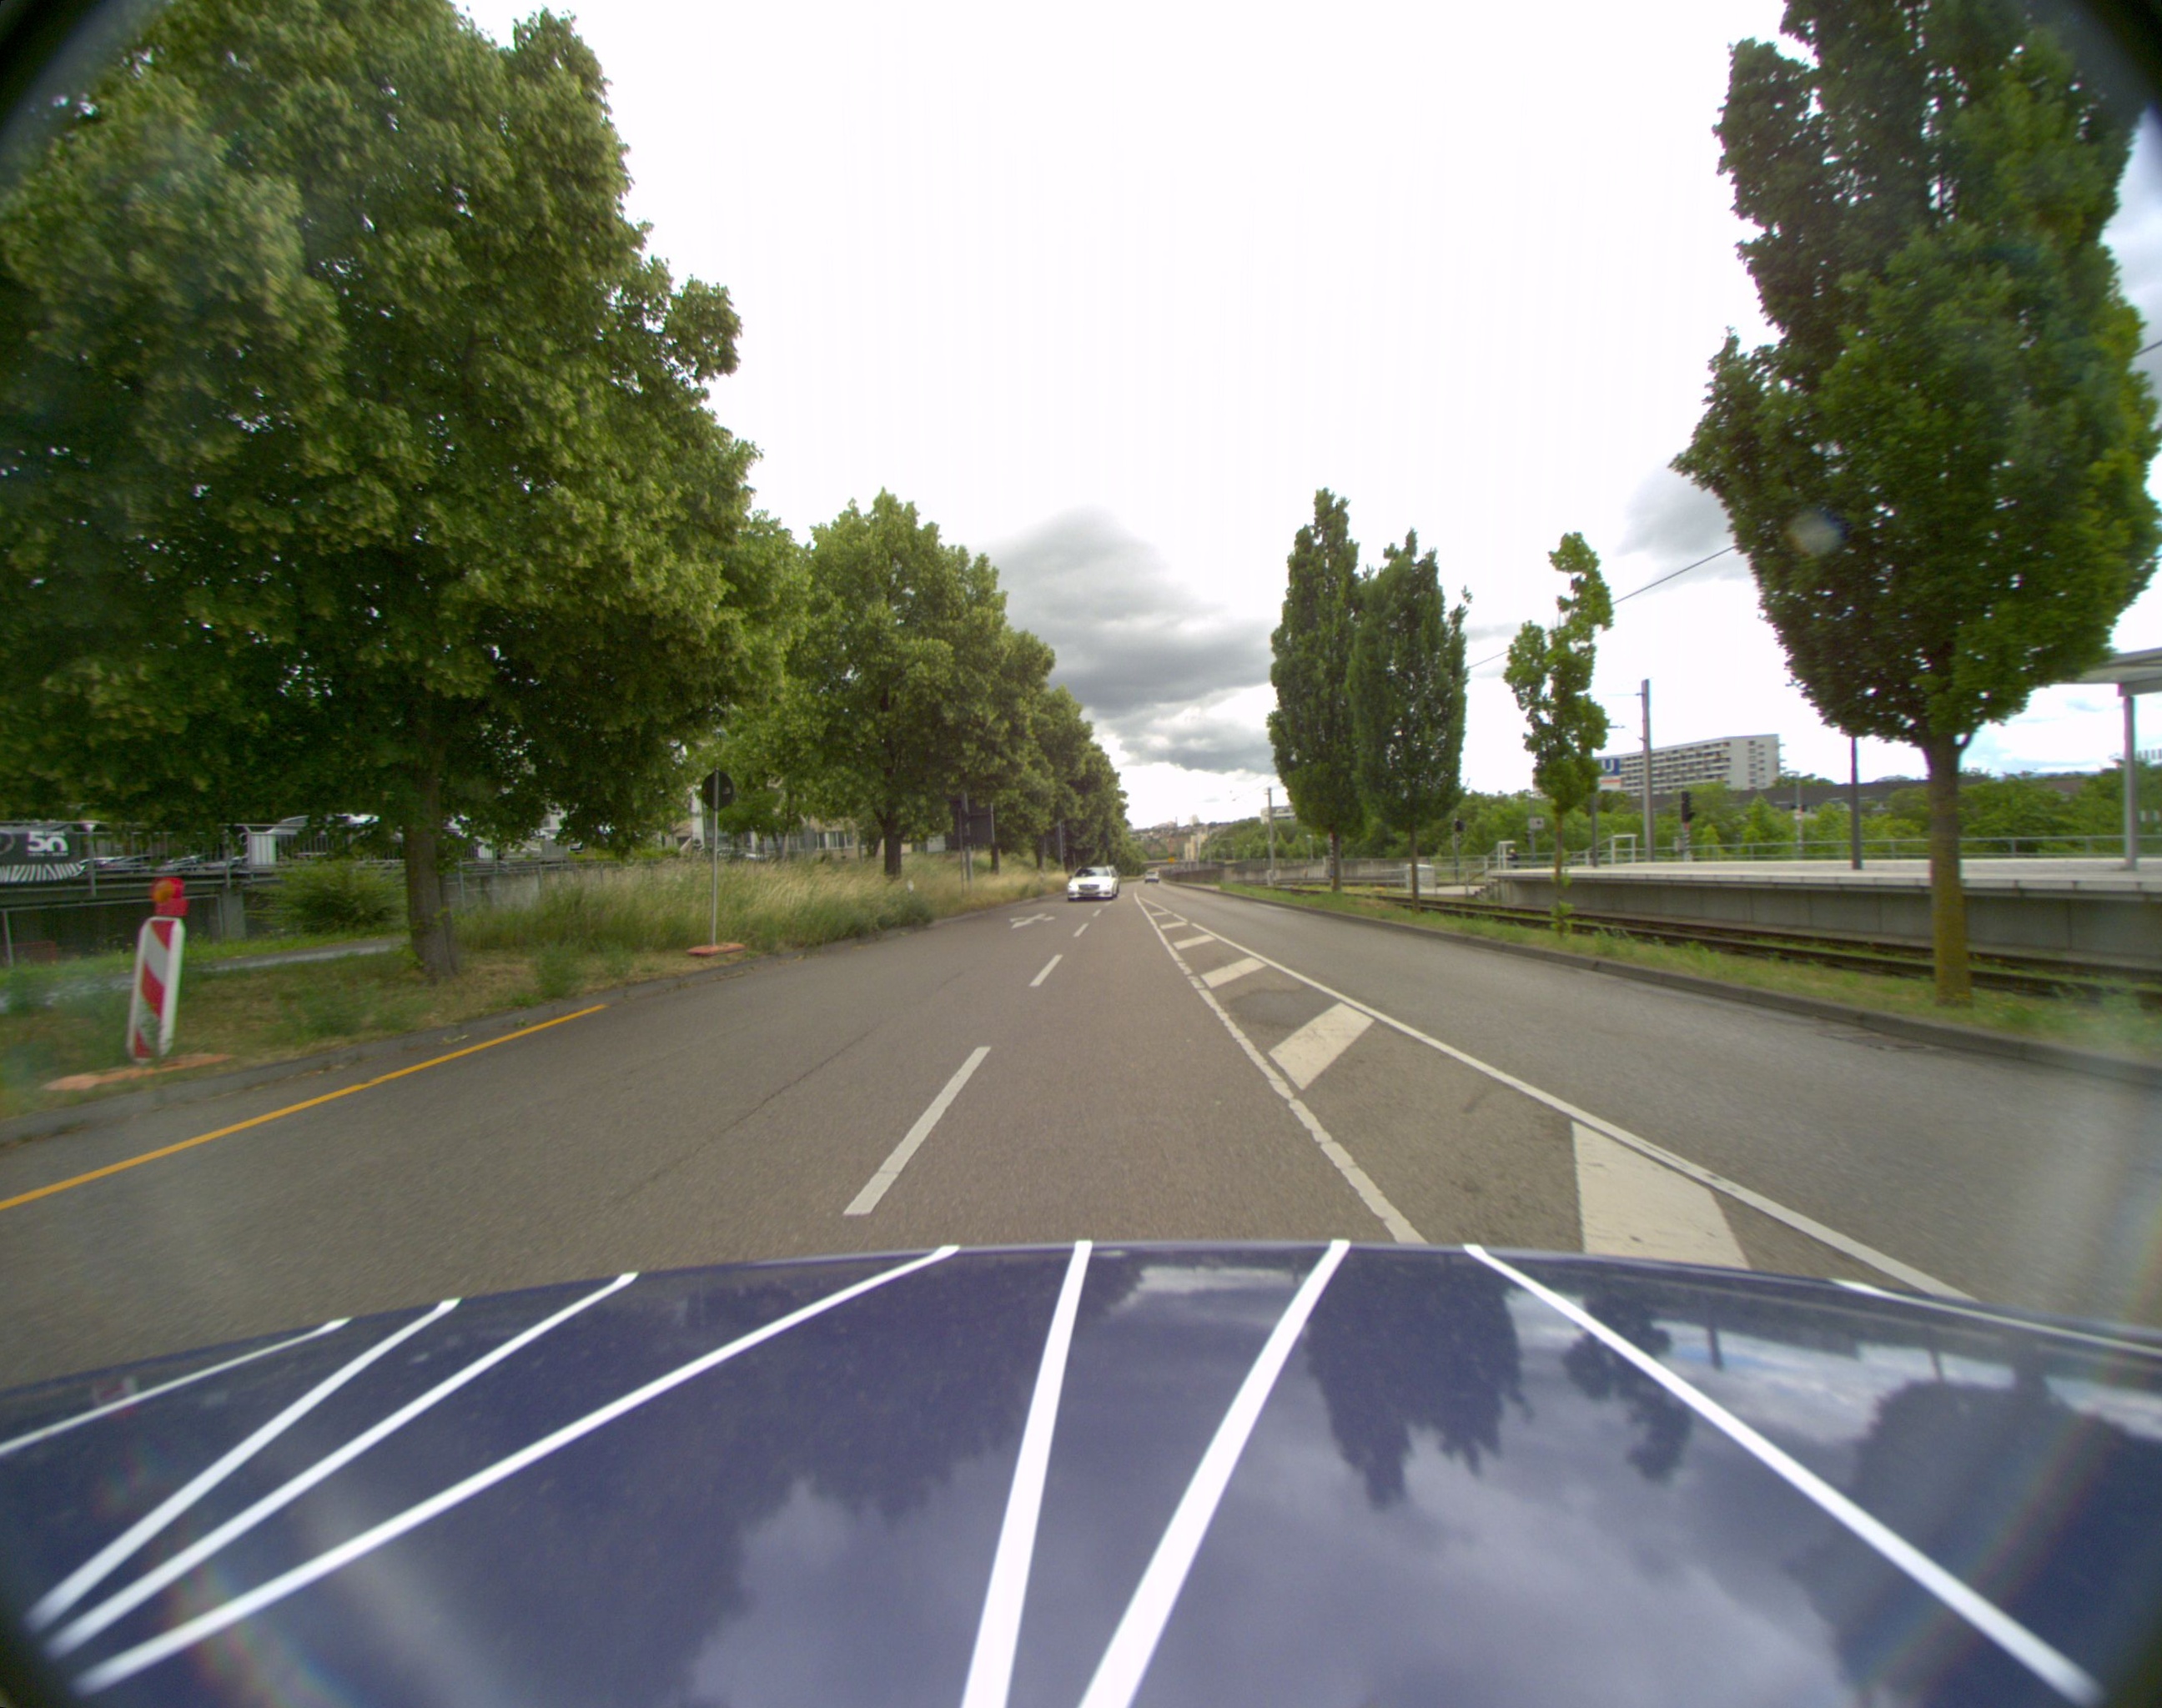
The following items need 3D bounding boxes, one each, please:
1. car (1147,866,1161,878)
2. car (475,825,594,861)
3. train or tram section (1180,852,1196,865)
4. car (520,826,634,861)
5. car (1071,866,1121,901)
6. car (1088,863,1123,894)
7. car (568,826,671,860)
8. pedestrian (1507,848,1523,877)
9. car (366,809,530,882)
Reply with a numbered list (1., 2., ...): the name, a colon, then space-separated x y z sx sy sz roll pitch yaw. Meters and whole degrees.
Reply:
1. car: 9.449 2.376 99.119 1.719 1.512 3.746 -1 -1 4
2. car: -22.402 -0.450 31.208 3.762 1.356 1.756 -1 0 8
3. train or tram section: 28.093 1.145 200.194 2.787 3.174 18.483 -2 -1 5
4. car: -22.007 -0.444 33.223 3.933 1.360 1.756 -1 0 8
5. car: 0.707 1.216 32.580 1.738 1.365 4.002 -2 -1 6
6. car: 1.405 1.329 42.407 1.805 1.439 4.000 -2 1 3
7. car: -22.187 -0.518 36.600 3.933 1.474 1.756 -1 0 8
8. pedestrian: 24.792 0.481 43.392 0.508 1.615 0.646 -2 0 4
9. car: -19.192 -0.221 23.098 3.762 1.947 1.644 -3 -1 8
